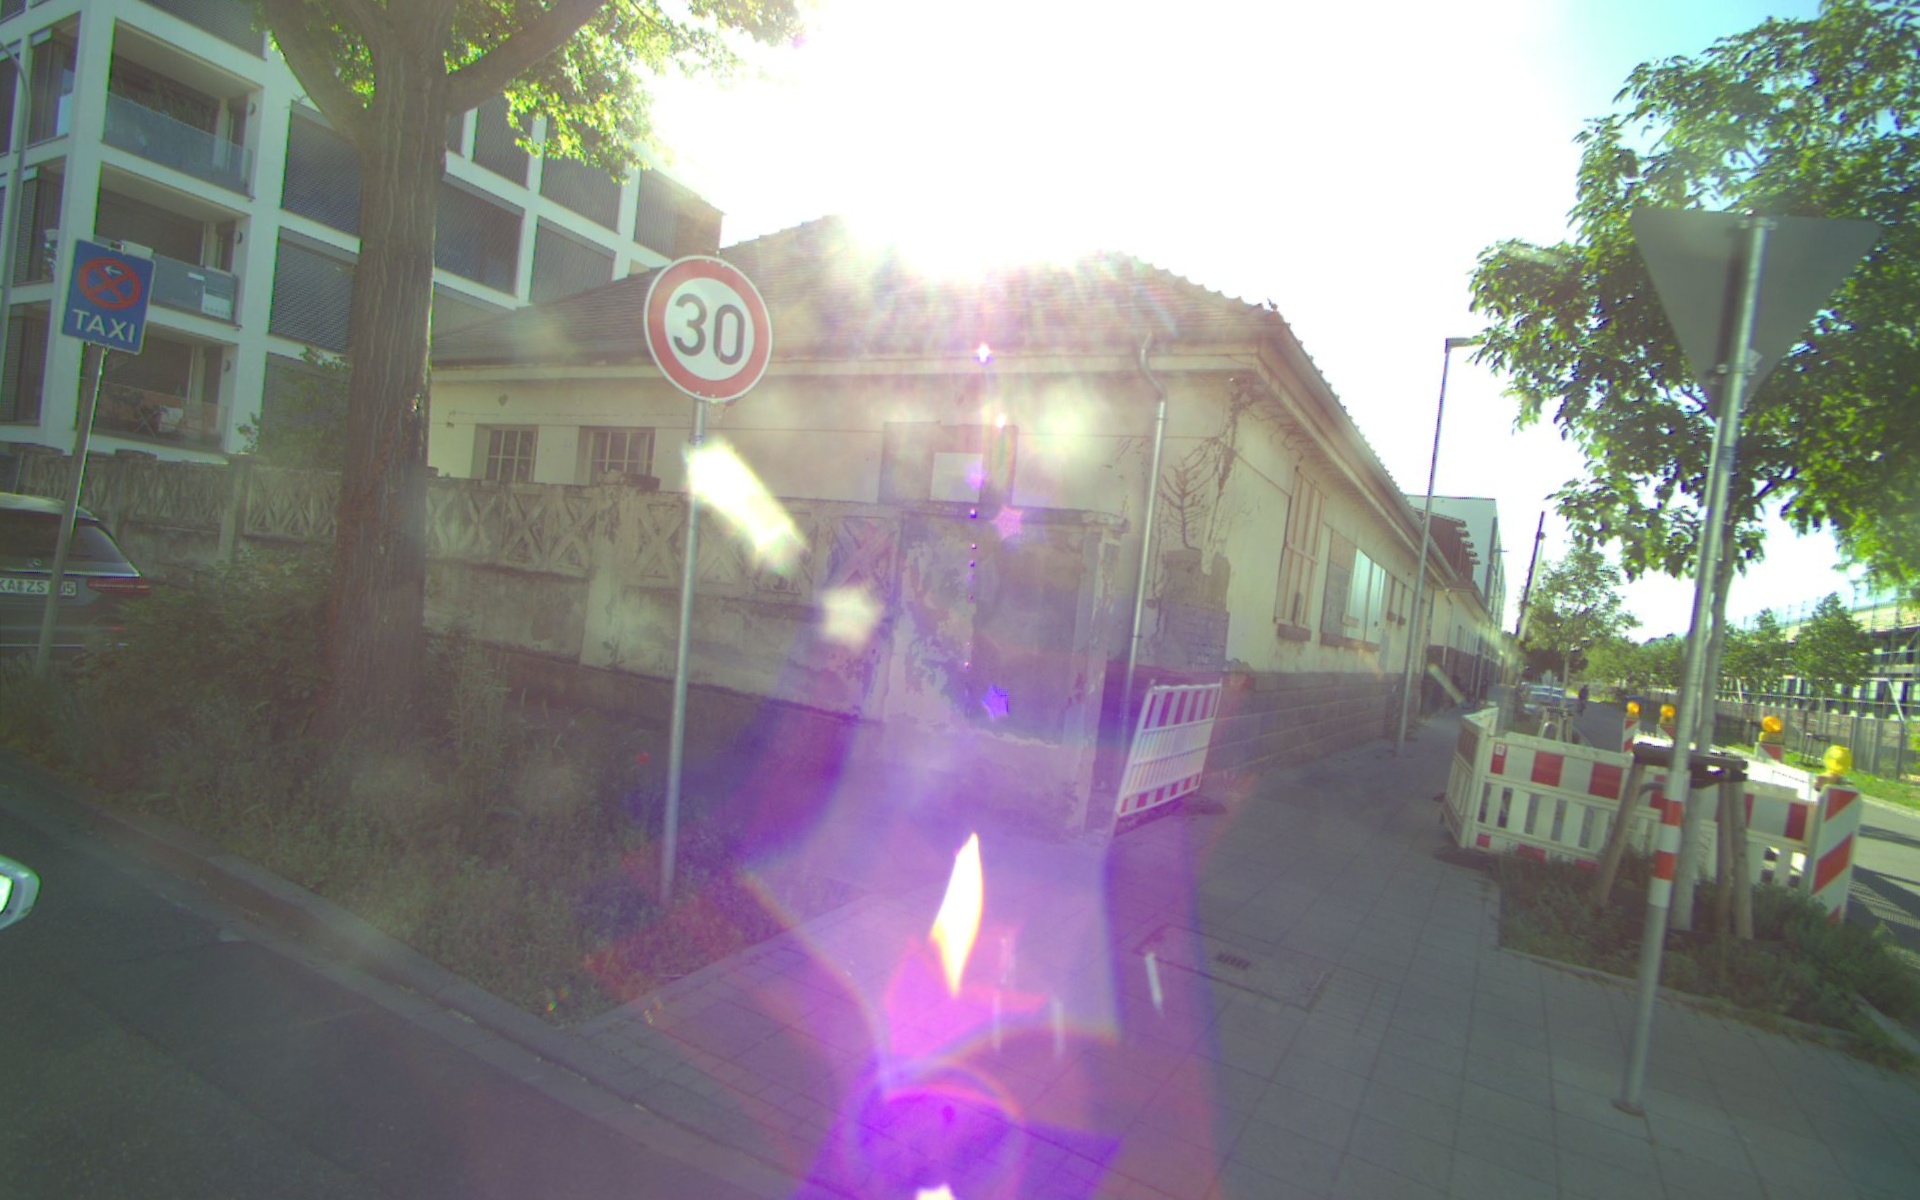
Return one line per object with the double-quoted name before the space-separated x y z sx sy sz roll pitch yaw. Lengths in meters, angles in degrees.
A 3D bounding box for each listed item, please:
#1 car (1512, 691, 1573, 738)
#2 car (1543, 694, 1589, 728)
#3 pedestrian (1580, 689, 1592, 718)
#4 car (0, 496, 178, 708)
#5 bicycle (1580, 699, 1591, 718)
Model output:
"car" 21.999 4.299 38.046 1.784 1.424 3.321 7 -1 30
"car" 30.956 5.653 51.475 1.784 1.430 3.321 7 -1 30
"pedestrian" 38.993 6.447 62.681 0.472 1.742 0.484 7 1 33
"car" -8.719 -0.202 8.406 4.707 1.486 1.706 7 0 30
"bicycle" 38.970 6.776 62.702 0.432 1.110 1.657 7 0 32
